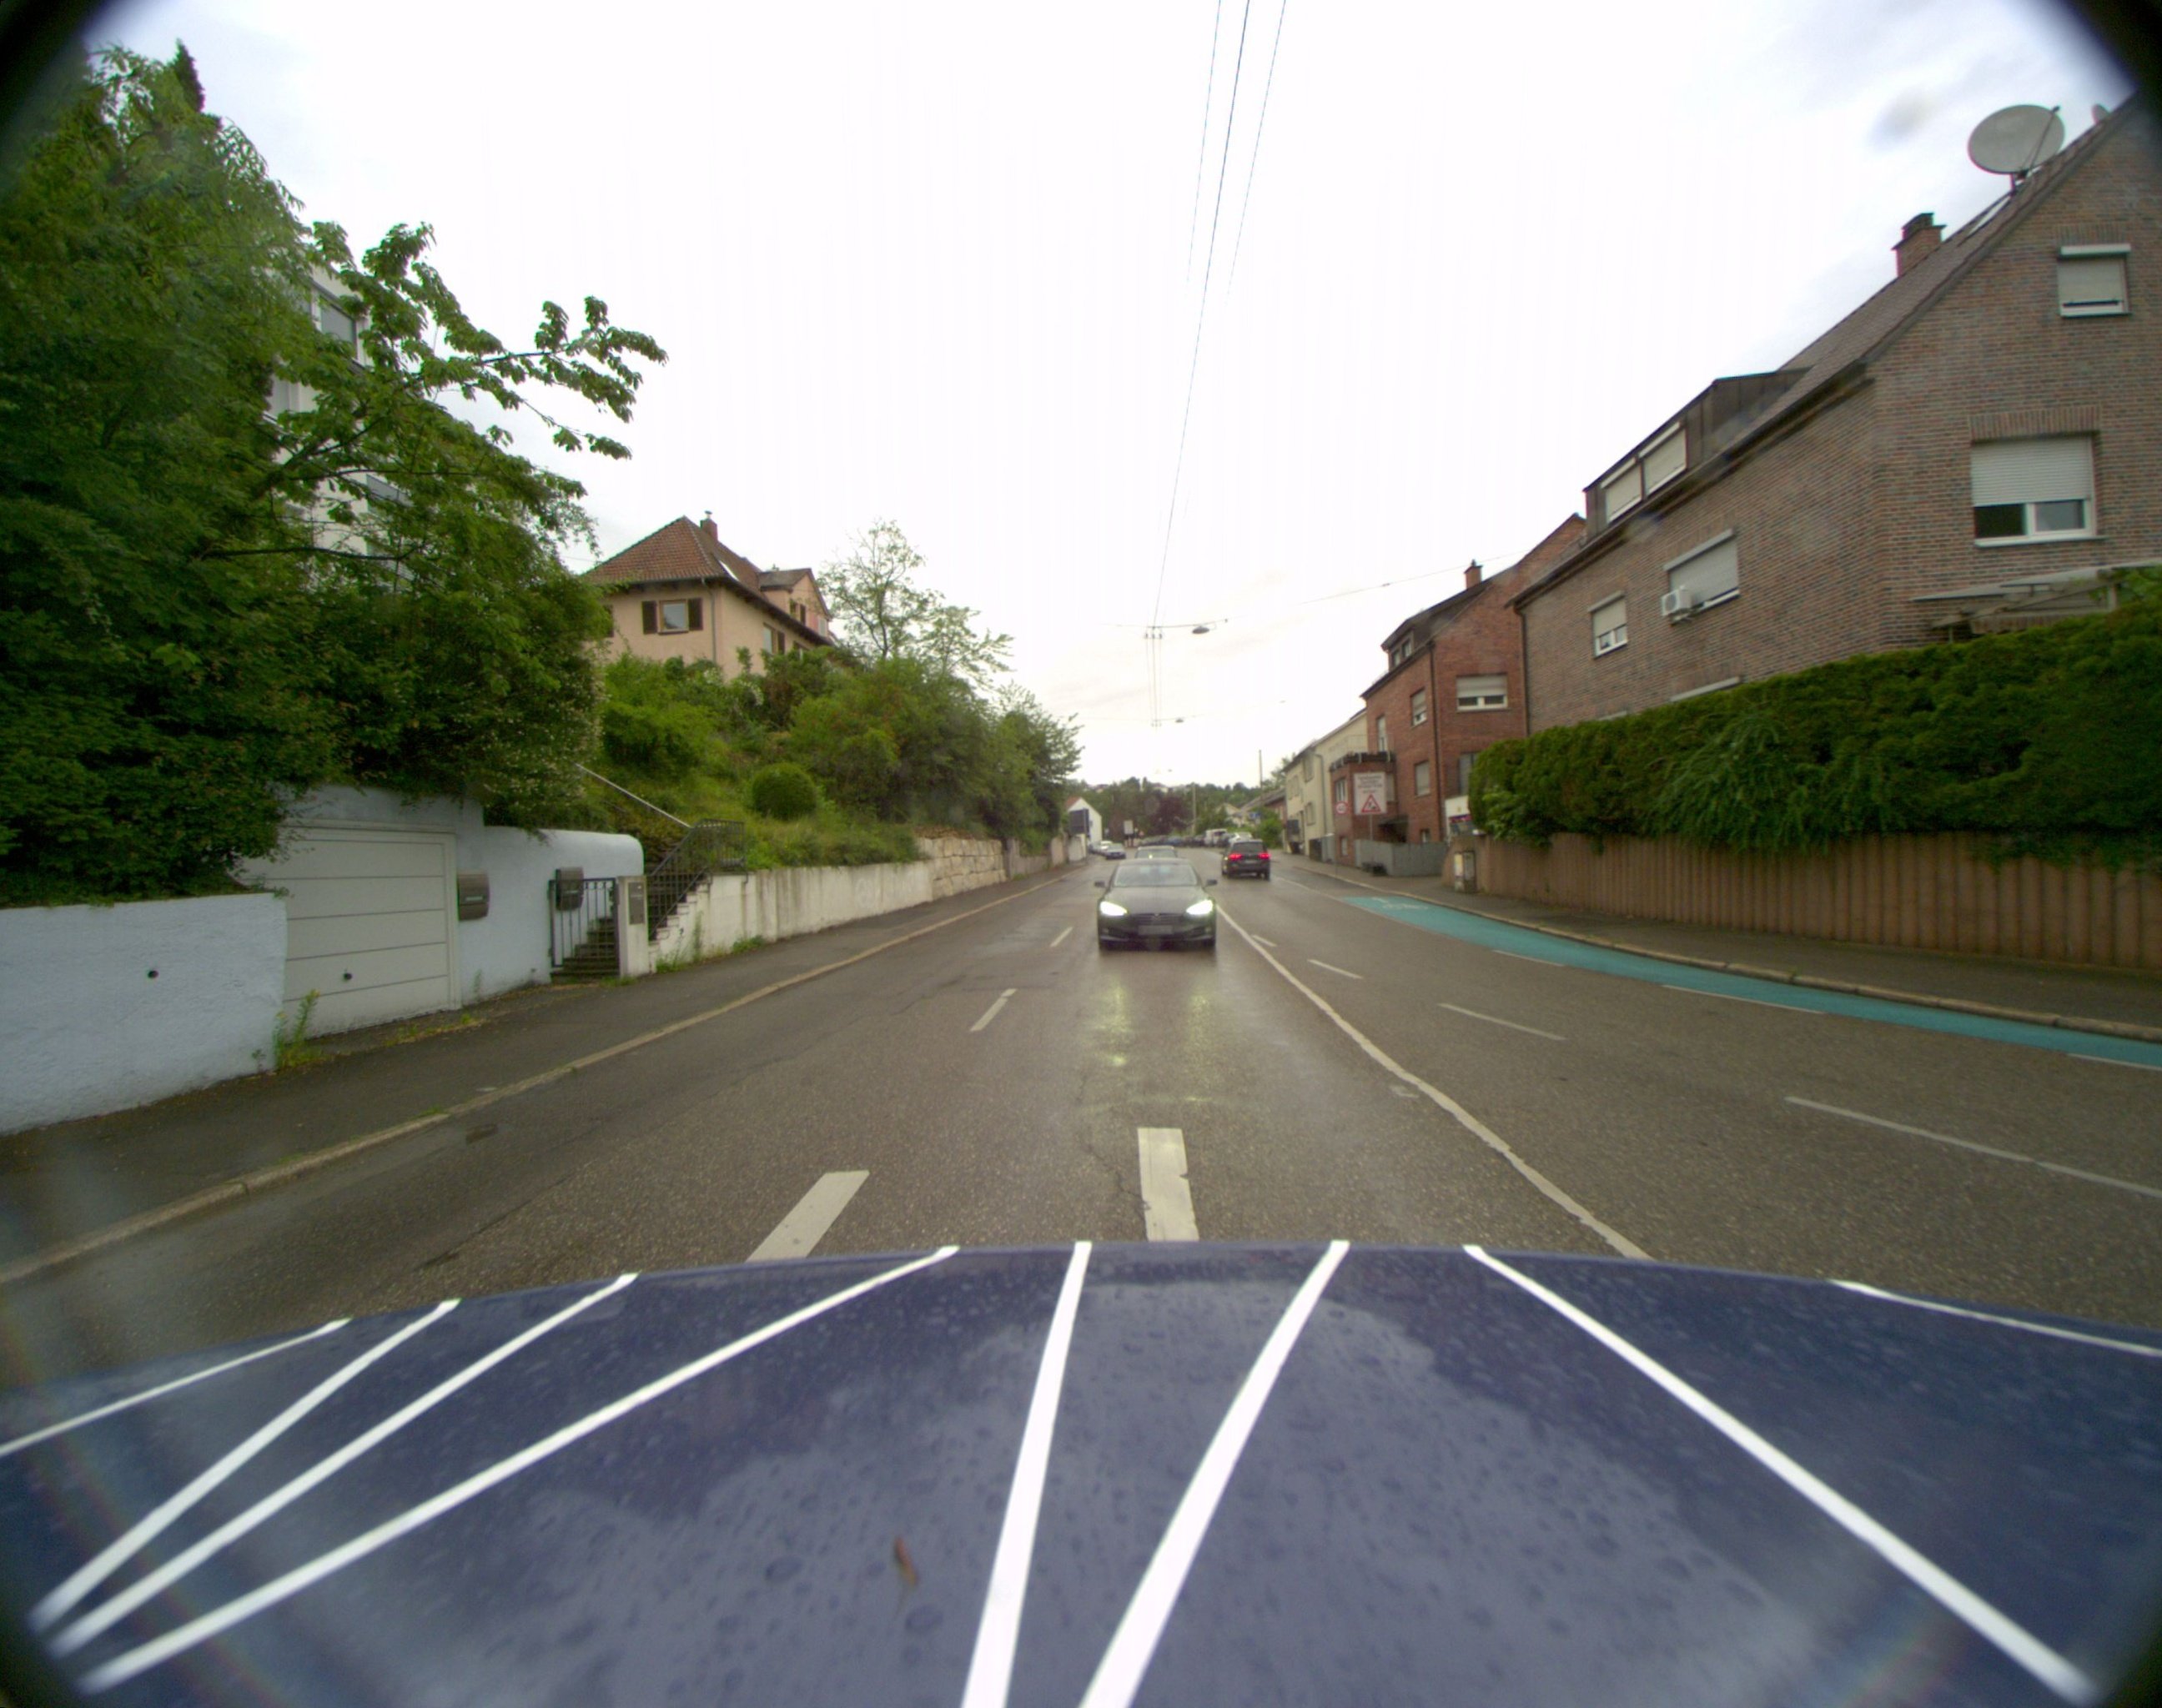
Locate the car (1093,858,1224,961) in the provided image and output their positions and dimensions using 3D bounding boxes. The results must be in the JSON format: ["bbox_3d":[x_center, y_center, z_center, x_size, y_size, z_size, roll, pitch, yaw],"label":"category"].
[{"bbox_3d":[1.201,0.846,13.485,1.870,1.407,3.999,-2,1,0],"label":"car"}]

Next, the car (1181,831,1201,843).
[{"bbox_3d":[14.051,-2.130,97.354,1.654,1.388,3.859,-4,1,-4],"label":"car"}]

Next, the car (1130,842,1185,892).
[{"bbox_3d":[2.699,0.413,27.245,1.789,1.580,3.784,-2,1,4],"label":"car"}]

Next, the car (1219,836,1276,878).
[{"bbox_3d":[7.207,0.085,33.254,1.853,1.671,4.172,0,2,4],"label":"car"}]

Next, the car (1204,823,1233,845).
[{"bbox_3d":[15.549,-2.280,86.107,2.257,2.273,4.546,-4,1,0],"label":"car"}]

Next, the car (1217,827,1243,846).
[{"bbox_3d":[15.664,-1.855,80.077,1.814,1.793,4.263,-4,1,2],"label":"car"}]

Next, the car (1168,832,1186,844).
[{"bbox_3d":[12.970,-2.084,102.671,1.624,1.482,3.901,-4,1,-4],"label":"car"}]

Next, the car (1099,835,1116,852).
[{"bbox_3d":[3.065,-1.254,88.994,1.820,1.855,4.038,-2,2,-1],"label":"car"}]

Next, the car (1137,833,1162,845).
[{"bbox_3d":[8.692,-1.862,96.655,1.923,1.438,3.712,-2,1,-17],"label":"car"}]

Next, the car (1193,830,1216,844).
[{"bbox_3d":[14.861,-2.013,91.465,1.654,1.482,4.009,-4,1,-6],"label":"car"}]

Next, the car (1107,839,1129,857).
[{"bbox_3d":[3.592,-0.576,73.124,2.002,1.596,4.360,-2,-1,4],"label":"car"}]

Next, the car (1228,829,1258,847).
[{"bbox_3d":[15.303,-1.509,71.929,1.946,1.557,4.263,-4,1,2],"label":"car"}]
